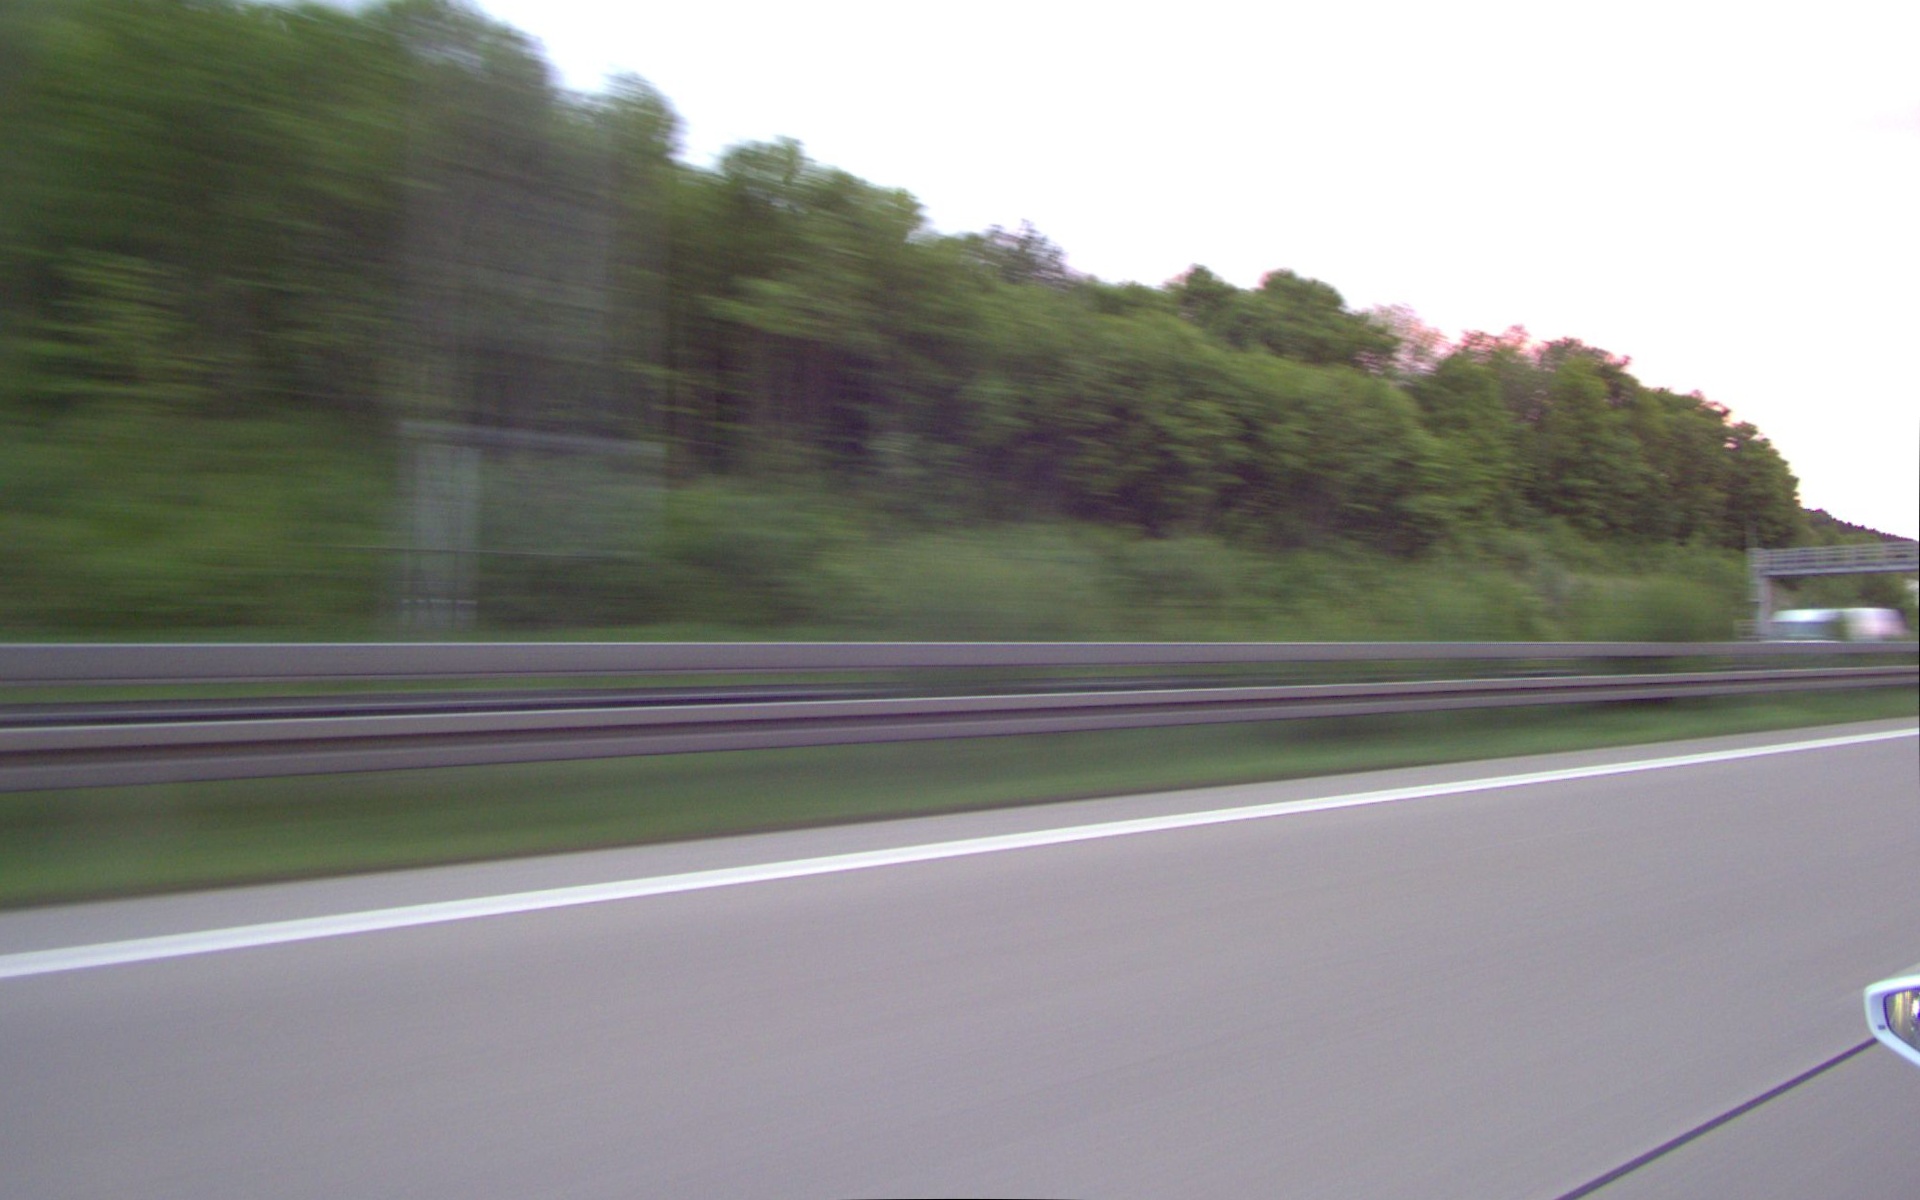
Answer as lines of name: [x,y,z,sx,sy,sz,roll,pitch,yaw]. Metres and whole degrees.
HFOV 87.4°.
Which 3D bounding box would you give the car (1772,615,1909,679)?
car: [34.880,1.841,39.725,6.642,2.390,2.127,2,-1,-31]
